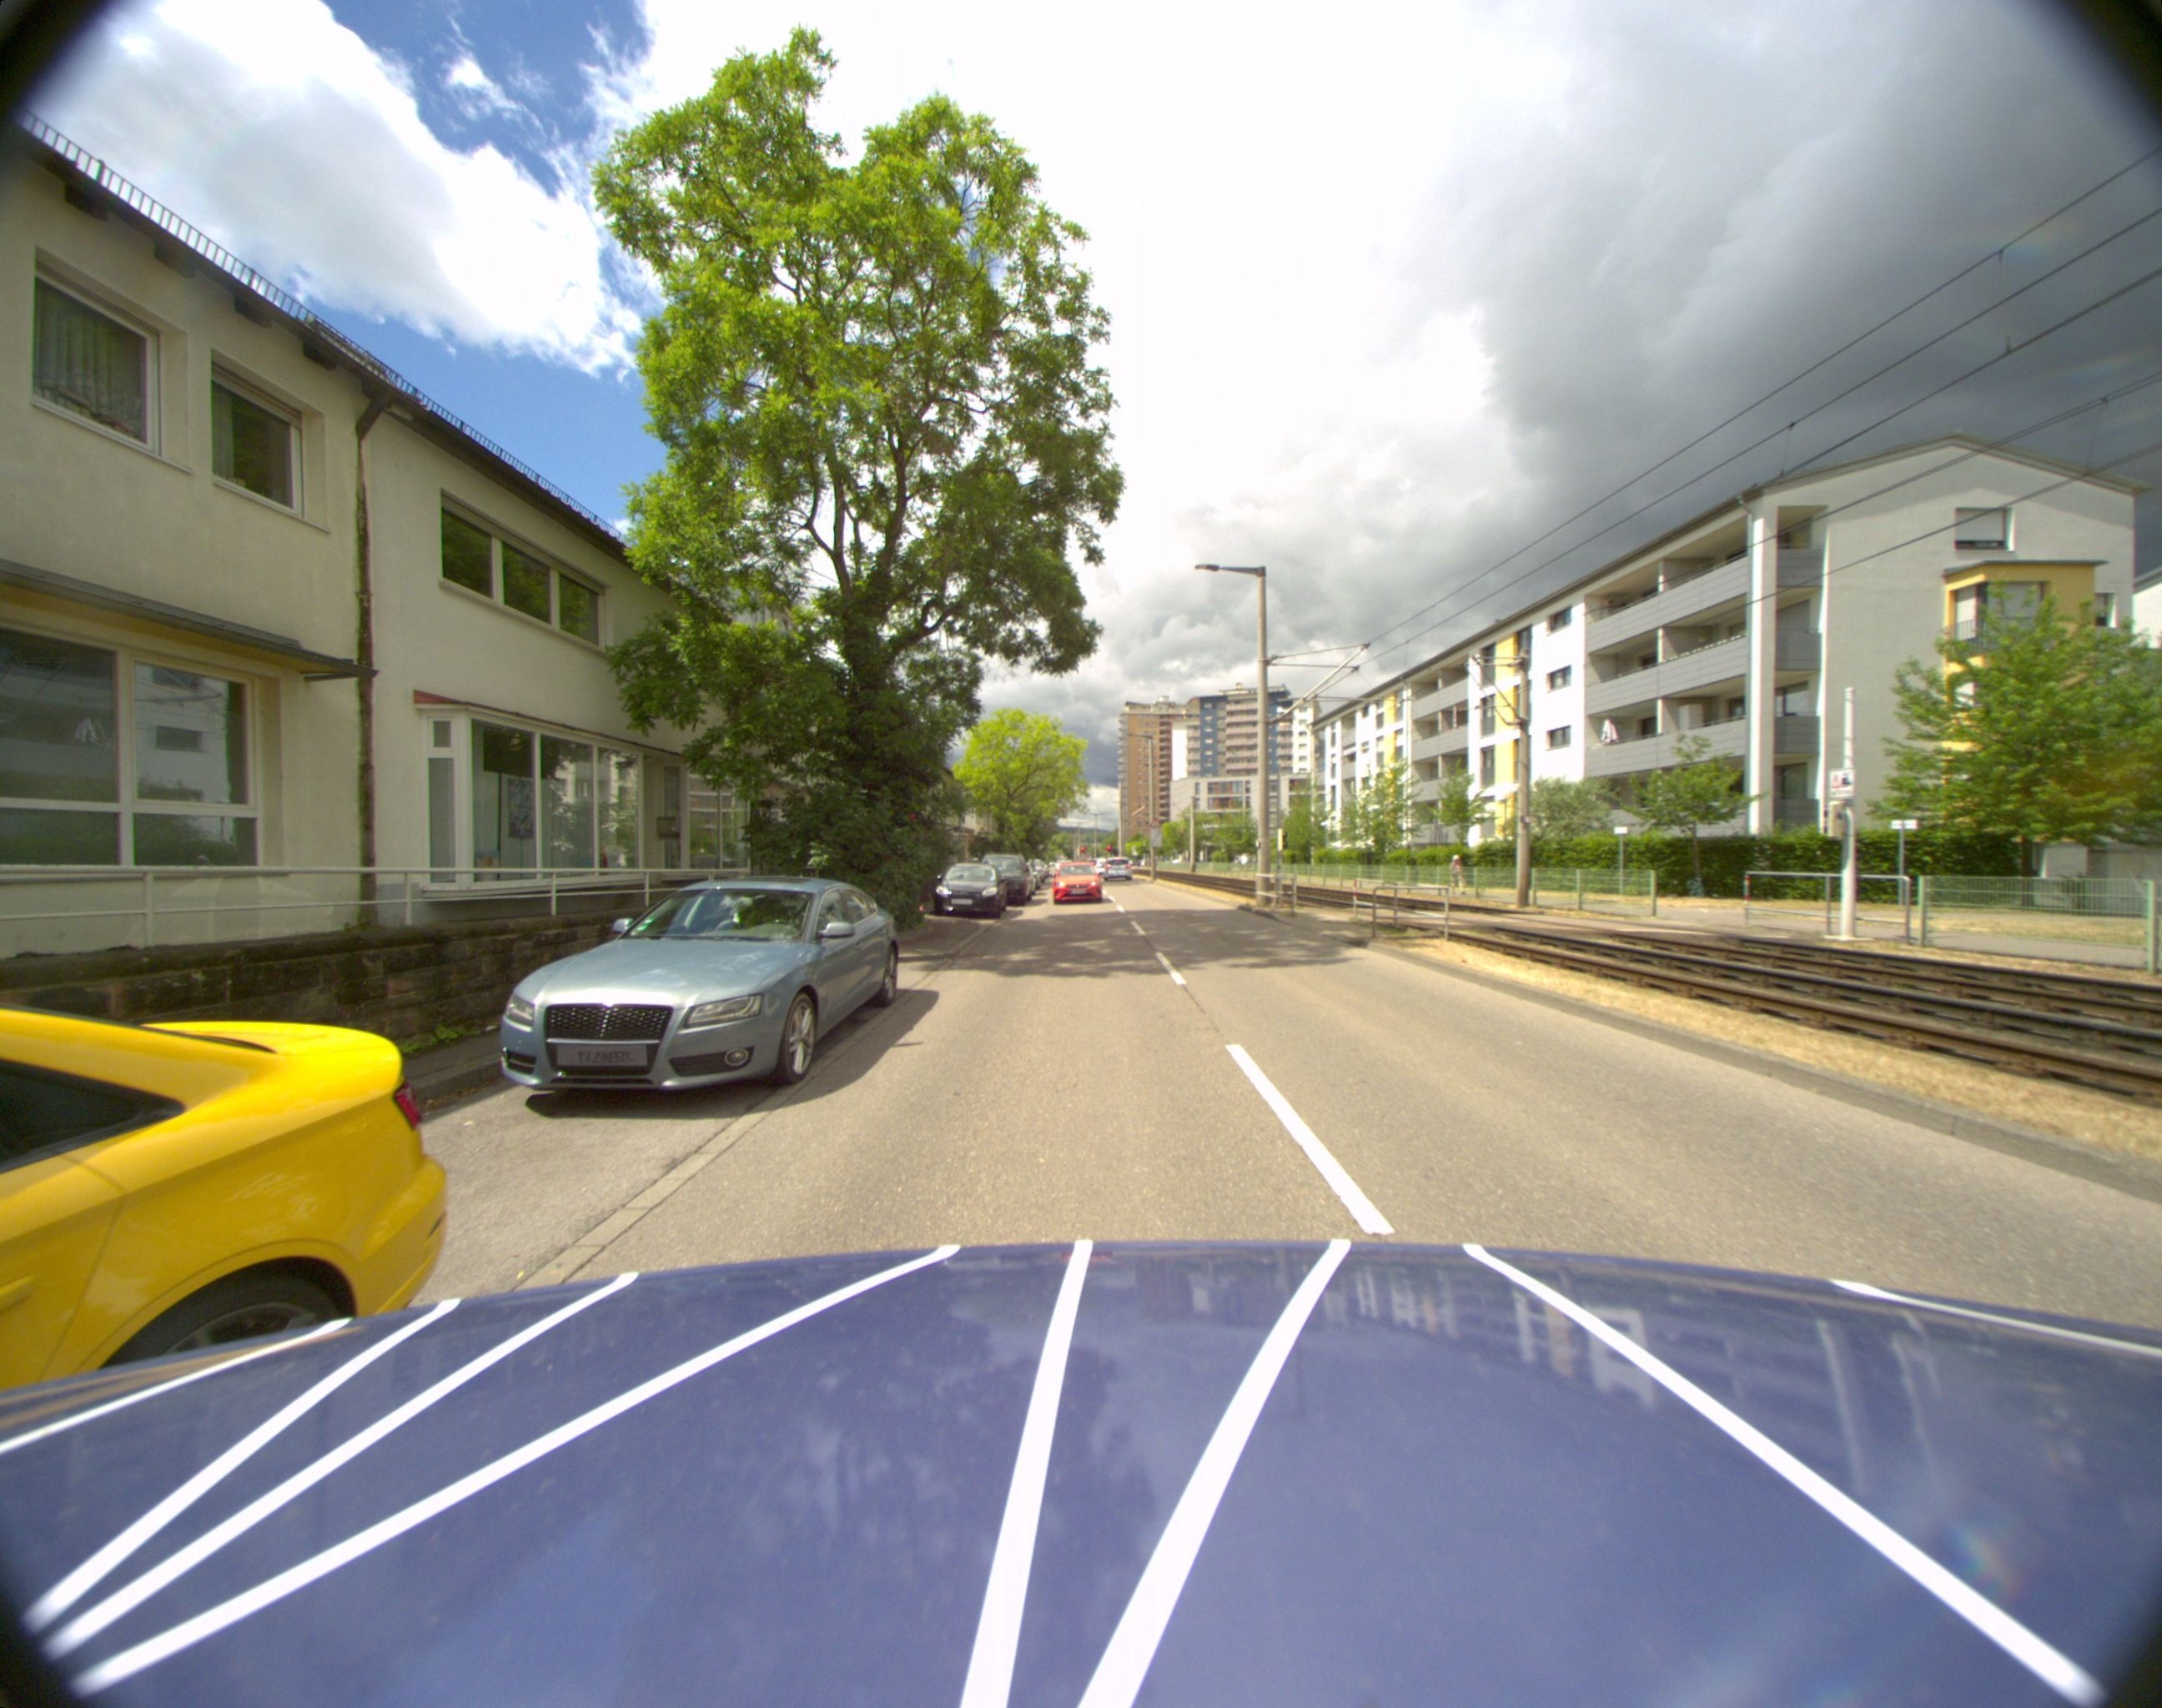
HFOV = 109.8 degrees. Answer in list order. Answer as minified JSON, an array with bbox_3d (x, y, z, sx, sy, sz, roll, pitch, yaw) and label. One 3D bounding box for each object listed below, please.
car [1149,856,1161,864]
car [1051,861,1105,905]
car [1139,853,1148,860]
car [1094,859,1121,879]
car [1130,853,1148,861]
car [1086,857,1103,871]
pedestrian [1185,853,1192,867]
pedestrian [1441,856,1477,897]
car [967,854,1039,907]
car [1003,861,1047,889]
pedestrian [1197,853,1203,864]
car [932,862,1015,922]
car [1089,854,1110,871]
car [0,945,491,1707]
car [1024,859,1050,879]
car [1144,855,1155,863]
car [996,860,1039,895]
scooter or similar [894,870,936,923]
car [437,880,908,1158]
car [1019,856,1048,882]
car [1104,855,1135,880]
[{"bbox_3d":[14.208,1.091,146.559,1.894,1.530,3.803,-1,0,-1],"label":"car"},{"bbox_3d":[-0.121,1.015,27.831,1.792,1.387,4.241,-2,0,0],"label":"car"},{"bbox_3d":[15.244,0.667,185.839,1.781,1.650,3.803,-1,0,-2],"label":"car"},{"bbox_3d":[2.135,1.225,62.645,1.822,1.494,4.836,-2,0,-2],"label":"car"},{"bbox_3d":[14.424,0.800,190.145,4.506,1.914,1.877,-1,0,-42],"label":"car"},{"bbox_3d":[1.527,1.124,86.171,1.816,1.437,4.464,-1,0,-1],"label":"car"},{"bbox_3d":[13.162,0.746,93.017,0.756,1.603,0.937,-1,0,-2],"label":"pedestrian"},{"bbox_3d":[14.026,0.821,28.196,0.798,1.474,0.995,-1,0,-2],"label":"pedestrian"},{"bbox_3d":[-2.722,0.876,27.700,2.020,1.778,5.076,0,0,1],"label":"car"},{"bbox_3d":[-2.902,1.065,39.858,1.775,1.341,4.001,2,0,3],"label":"car"},{"bbox_3d":[18.095,0.714,115.826,0.749,1.644,0.538,-1,0,-2],"label":"pedestrian"},{"bbox_3d":[-2.941,0.995,21.536,1.839,1.497,4.241,0,0,-1],"label":"car"},{"bbox_3d":[1.890,0.859,78.781,1.862,1.680,4.432,-1,0,-3],"label":"car"},{"bbox_3d":[-2.744,1.013,0.207,1.759,1.434,4.341,1,0,0],"label":"car"},{"bbox_3d":[-3.306,1.131,57.910,1.729,1.418,4.445,-1,0,0],"label":"car"},{"bbox_3d":[13.761,1.027,152.641,1.781,1.530,3.803,-1,0,-2],"label":"car"},{"bbox_3d":[-2.820,1.018,34.564,1.776,1.434,3.898,2,0,-3],"label":"car"},{"bbox_3d":[-4.061,1.012,18.564,0.537,1.235,1.233,0,-1,-36],"label":"scooter or similar"},{"bbox_3d":[-2.843,1.021,6.607,1.760,1.434,4.493,0,0,-1],"label":"car"},{"bbox_3d":[-3.230,1.004,52.308,1.842,1.634,4.429,-1,0,-2],"label":"car"},{"bbox_3d":[2.689,0.908,53.556,1.822,1.604,4.601,-2,0,-1],"label":"car"}]
